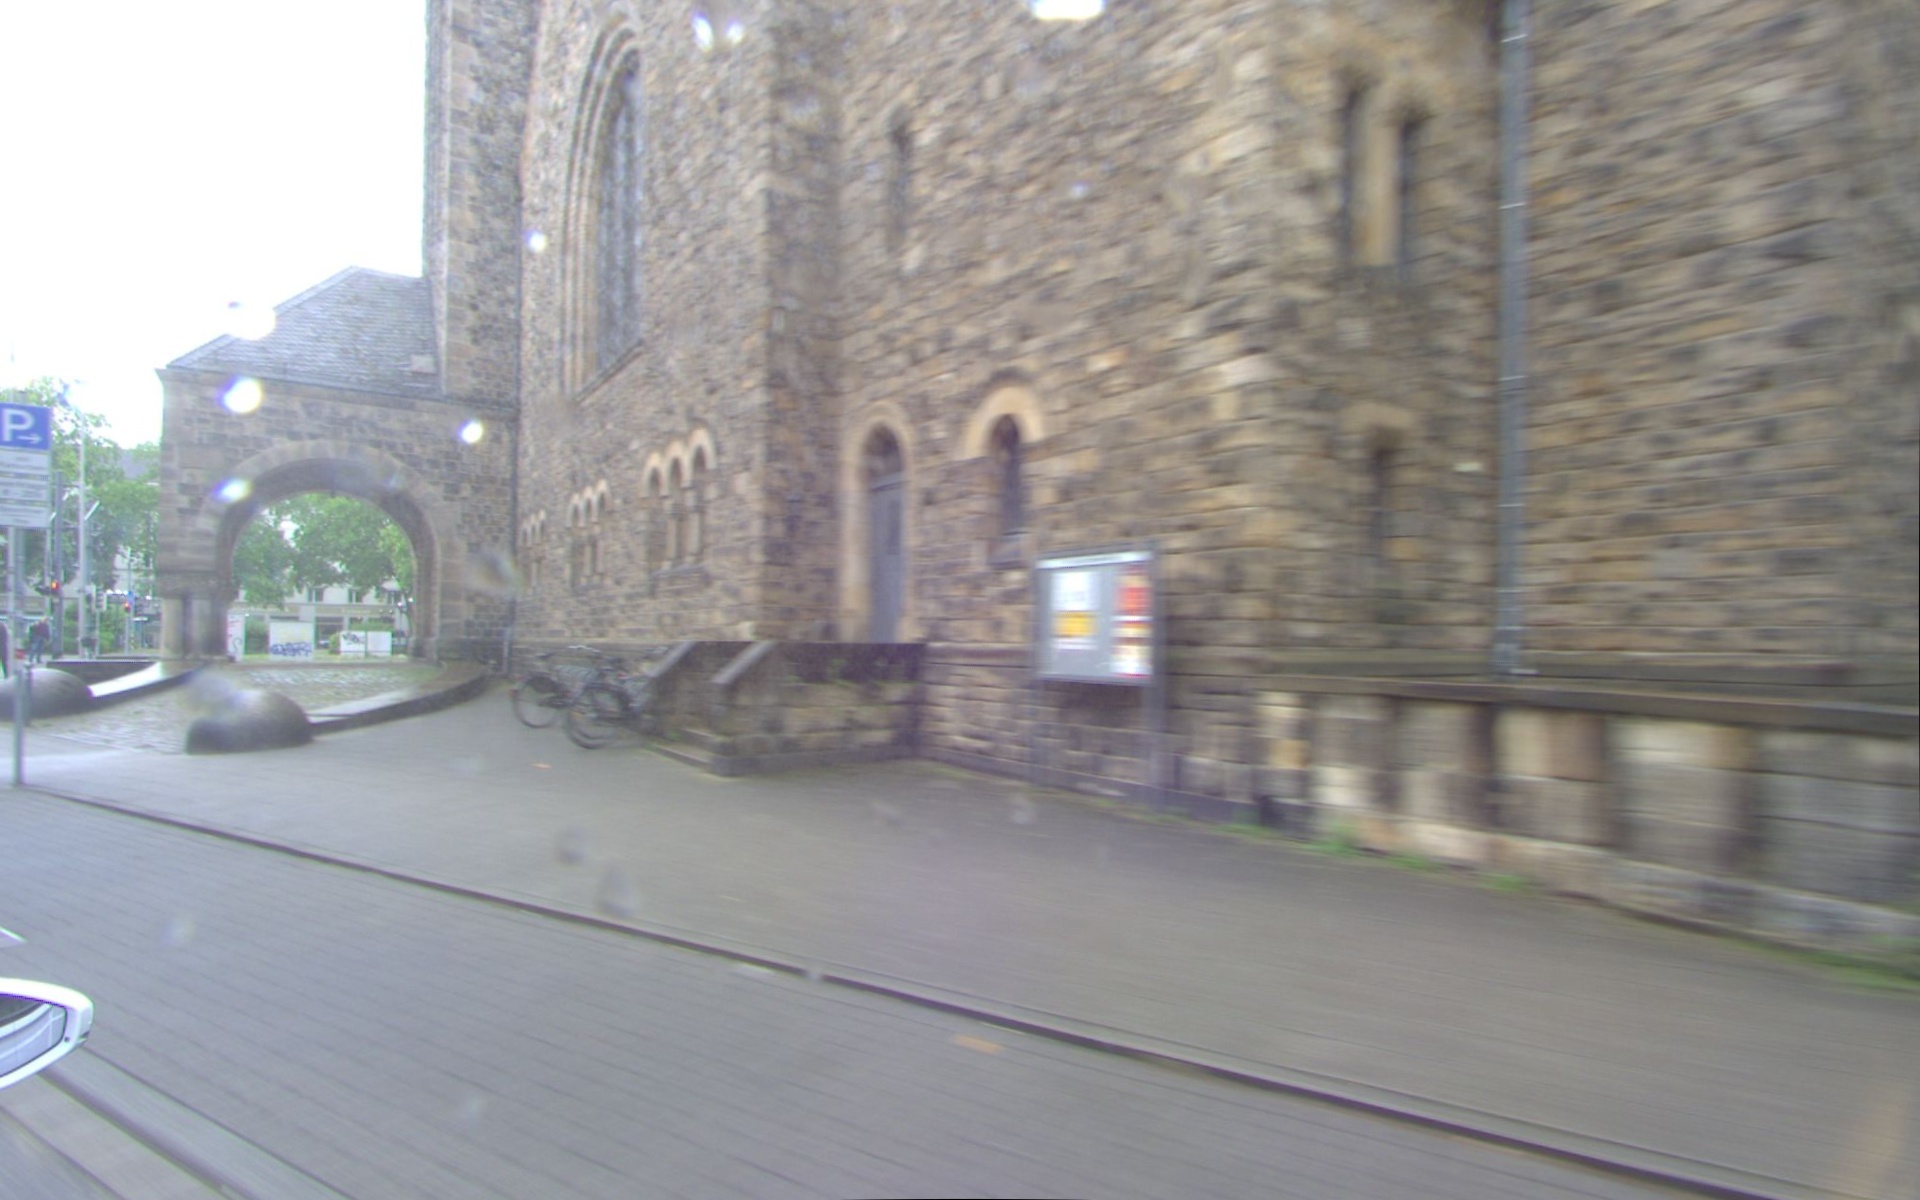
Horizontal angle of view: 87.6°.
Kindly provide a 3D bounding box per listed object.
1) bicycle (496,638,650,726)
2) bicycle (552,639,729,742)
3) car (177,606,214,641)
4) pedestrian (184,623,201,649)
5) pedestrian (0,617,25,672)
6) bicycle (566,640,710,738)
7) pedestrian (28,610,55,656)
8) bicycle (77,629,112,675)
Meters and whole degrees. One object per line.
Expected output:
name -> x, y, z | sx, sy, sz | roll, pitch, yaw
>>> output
bicycle -> -5.543, 1.140, 14.434 | 0.684, 1.119, 1.972 | -1, 0, 44
bicycle -> -3.743, 1.032, 11.871 | 1.971, 1.068, 0.508 | 0, 0, -44
car -> -59.499, 1.860, 77.978 | 1.888, 2.588, 4.758 | 2, -2, -33
pedestrian -> -47.222, 2.226, 61.628 | 0.666, 1.573, 0.758 | 1, -3, -29
pedestrian -> -29.144, 1.340, 30.555 | 0.774, 1.667, 0.651 | 1, -1, -32
bicycle -> -4.133, 1.113, 12.932 | 1.697, 1.126, 0.556 | 0, 0, -44
pedestrian -> -36.639, 1.308, 39.954 | 0.780, 1.782, 0.937 | 1, -1, -42
bicycle -> -23.235, 1.380, 26.861 | 2.049, 1.169, 0.327 | -1, -1, 39
